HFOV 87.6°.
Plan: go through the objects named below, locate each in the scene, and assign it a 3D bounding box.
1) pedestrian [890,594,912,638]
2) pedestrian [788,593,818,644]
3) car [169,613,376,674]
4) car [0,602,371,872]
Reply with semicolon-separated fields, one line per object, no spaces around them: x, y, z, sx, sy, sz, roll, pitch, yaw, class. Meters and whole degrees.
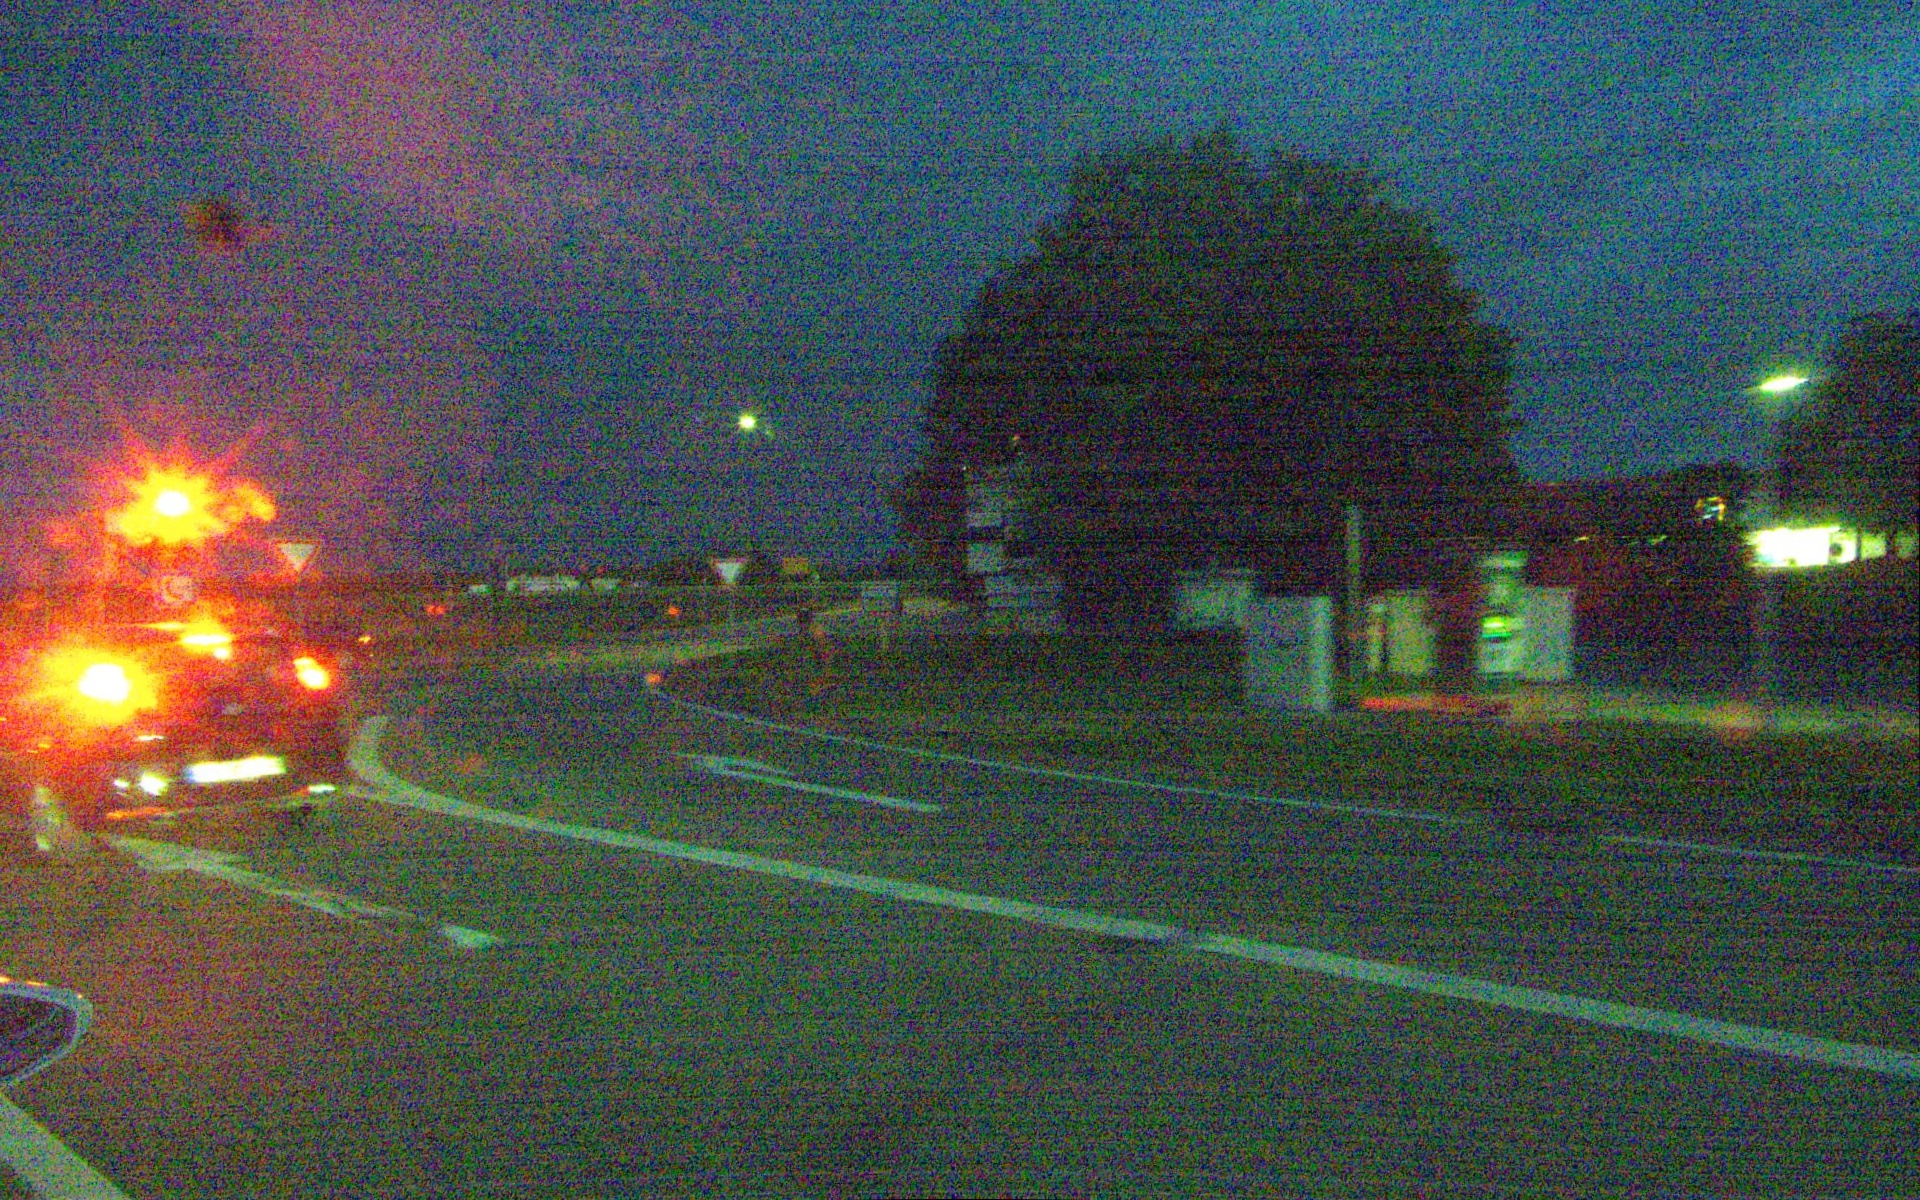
-2.569;0.691;43.564;0.860;1.925;0.660;-1;1;6;pedestrian
-5.836;0.683;37.303;0.861;1.859;0.731;-3;1;6;pedestrian
-19.975;1.215;29.323;1.972;1.541;4.590;-1;0;33;car
-6.318;0.829;7.548;4.049;1.540;1.667;-1;-1;34;car
